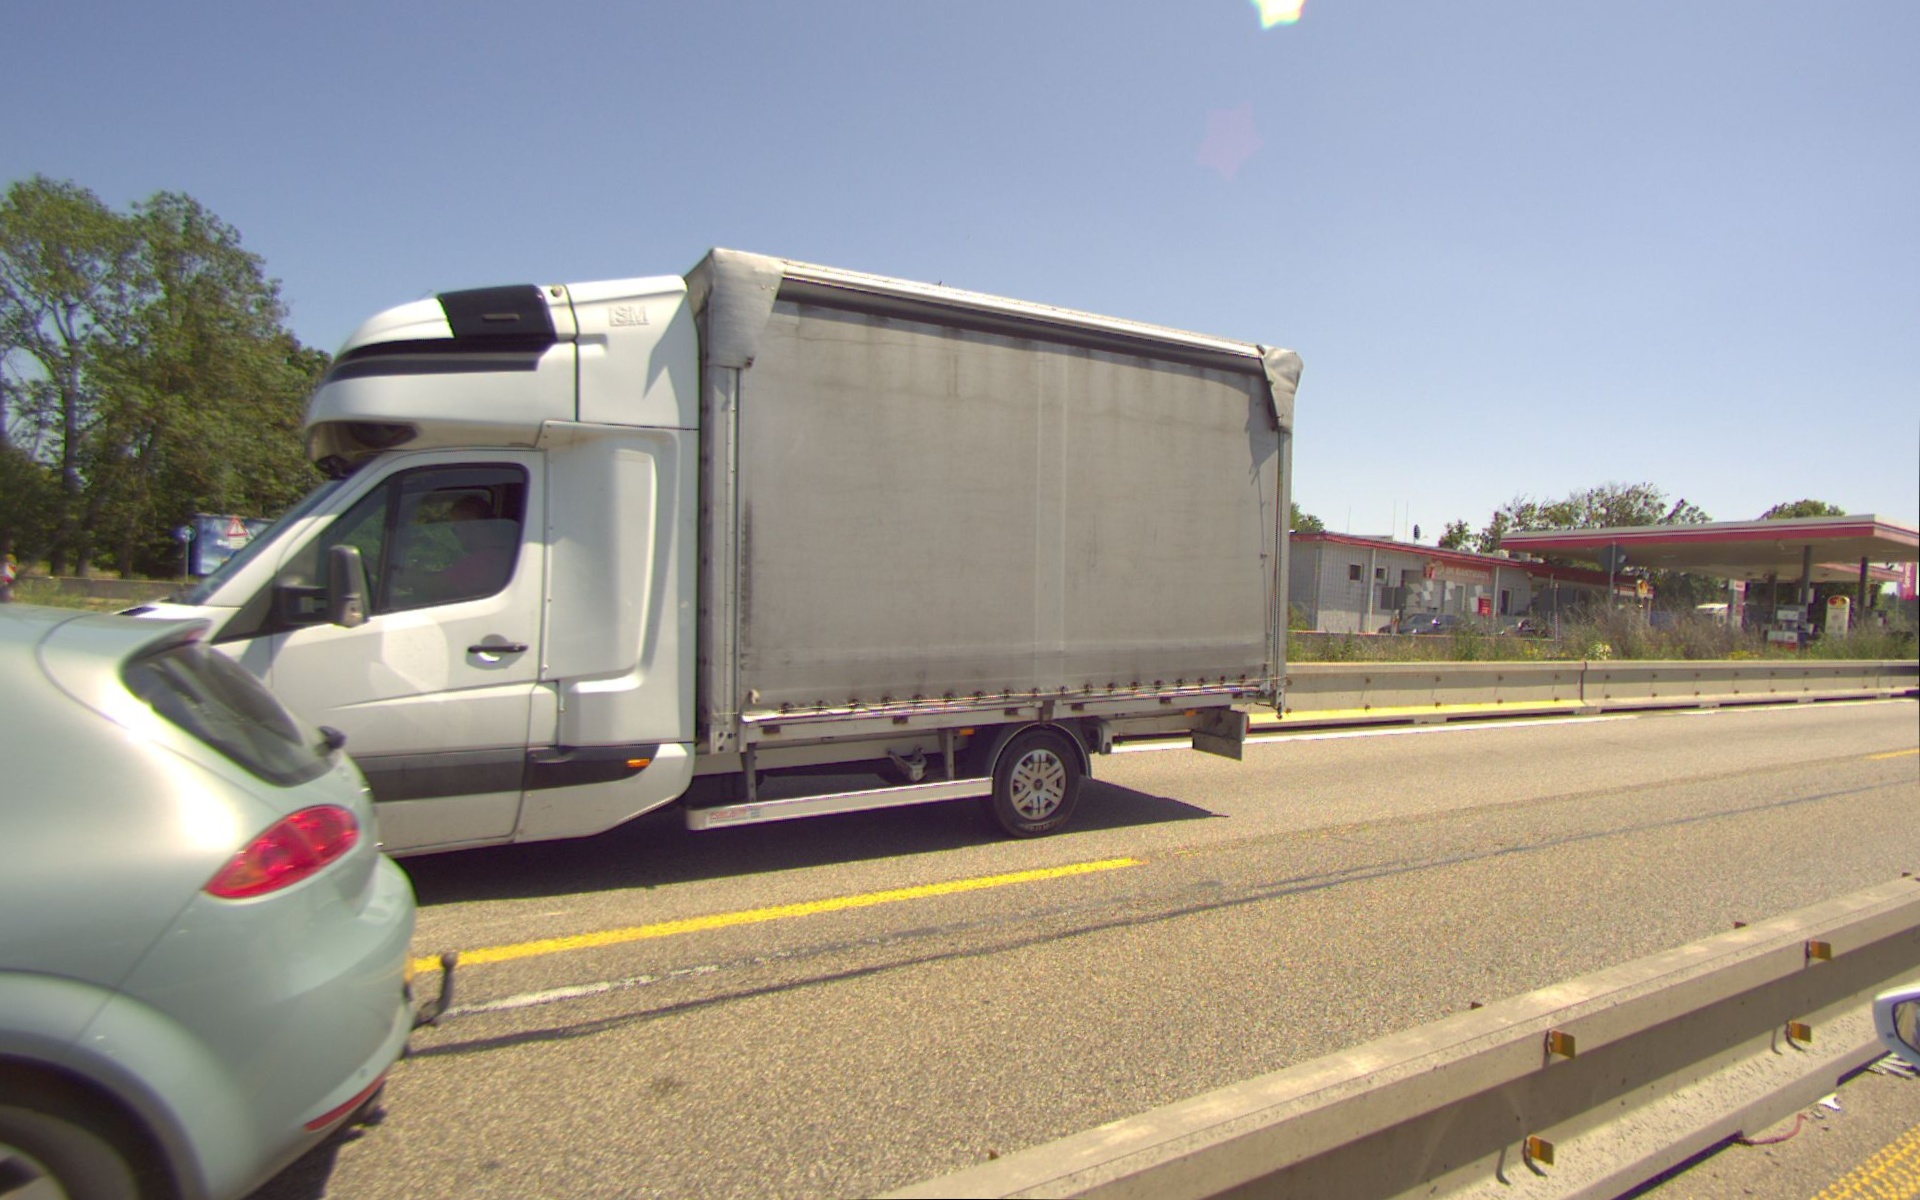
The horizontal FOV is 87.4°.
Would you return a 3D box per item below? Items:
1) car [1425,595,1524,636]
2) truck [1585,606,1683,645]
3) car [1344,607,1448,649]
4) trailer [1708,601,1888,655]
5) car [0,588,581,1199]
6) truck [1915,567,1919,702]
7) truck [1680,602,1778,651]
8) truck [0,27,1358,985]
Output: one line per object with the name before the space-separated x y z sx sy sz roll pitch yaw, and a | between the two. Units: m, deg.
car | 23.429 0.710 45.731 4.264 1.430 1.743 2 10 -29
truck | 58.751 2.209 87.592 6.992 3.104 2.824 2 0 -9
car | 16.827 1.045 38.726 3.954 1.374 1.636 0 5 -31
trailer | 74.266 2.465 89.144 13.892 4.166 3.159 2 0 -4
car | -3.027 0.679 1.808 4.154 1.448 1.673 1 0 -32
truck | 24.285 0.601 22.244 8.025 3.336 2.482 1 1 -31
truck | 67.842 2.300 88.684 6.225 4.038 3.159 2 0 -4
truck | -0.967 -0.273 6.486 7.626 3.430 2.377 1 1 -31
